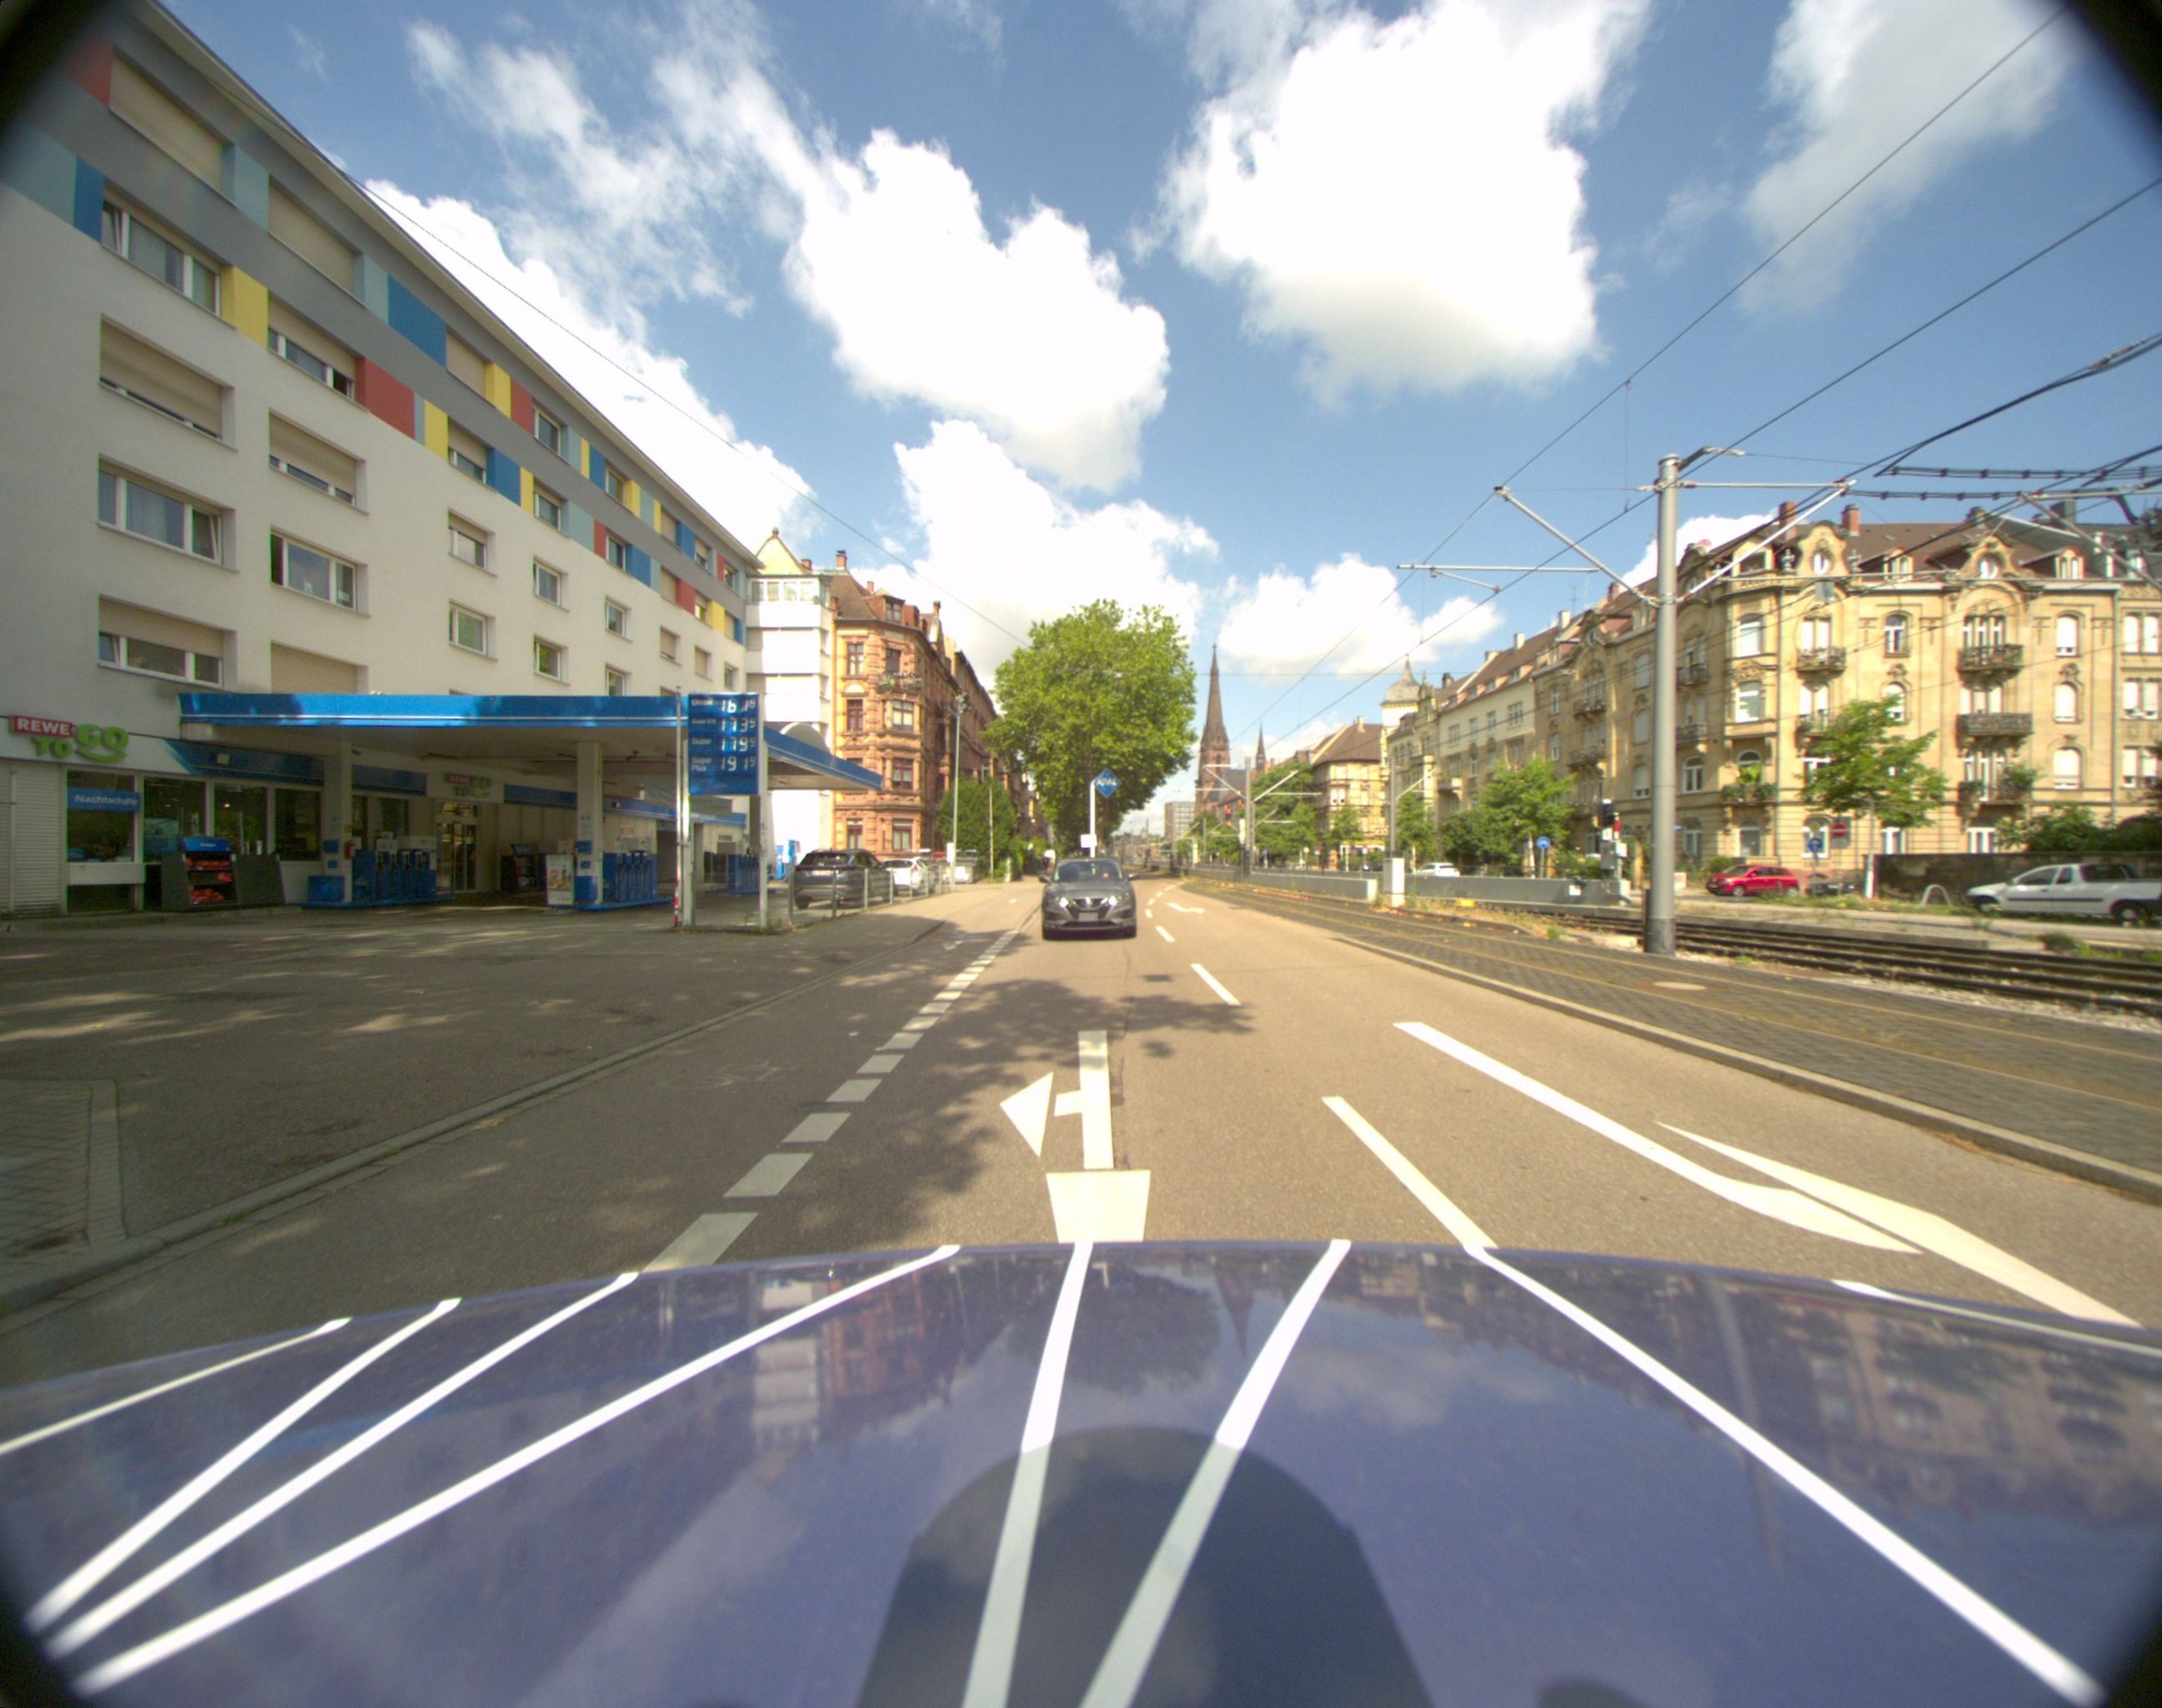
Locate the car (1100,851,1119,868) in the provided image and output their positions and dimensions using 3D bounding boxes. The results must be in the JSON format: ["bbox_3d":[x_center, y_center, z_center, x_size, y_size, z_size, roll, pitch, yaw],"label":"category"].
[{"bbox_3d":[2.620,0.532,70.746,1.557,1.476,3.858,2,0,0],"label":"car"}]

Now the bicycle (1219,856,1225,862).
[{"bbox_3d":[24.684,0.903,133.175,0.778,0.973,2.141,2,0,1],"label":"bicycle"}]

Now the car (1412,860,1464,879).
[{"bbox_3d":[26.671,1.156,56.861,1.756,1.320,4.312,0,0,-2],"label":"car"}]

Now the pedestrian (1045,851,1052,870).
[{"bbox_3d":[-3.039,0.609,70.741,0.565,1.775,0.630,0,0,0],"label":"pedestrian"}]

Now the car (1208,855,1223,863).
[{"bbox_3d":[26.018,0.977,147.040,1.998,1.628,4.114,0,0,0],"label":"car"}]

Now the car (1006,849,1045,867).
[{"bbox_3d":[-6.739,0.514,91.990,4.412,1.927,1.982,3,0,-10],"label":"car"}]

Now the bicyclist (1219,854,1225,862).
[{"bbox_3d":[24.678,0.724,133.036,0.769,1.330,1.049,2,0,1],"label":"bicyclist"}]

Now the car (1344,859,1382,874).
[{"bbox_3d":[26.457,1.146,71.490,1.953,1.319,4.726,0,0,1],"label":"car"}]

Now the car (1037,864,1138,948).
[{"bbox_3d":[0.146,0.963,15.898,1.800,1.454,4.567,0,0,1],"label":"car"}]

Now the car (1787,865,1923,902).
[{"bbox_3d":[32.799,1.227,32.268,3.972,1.455,1.723,1,0,1],"label":"car"}]

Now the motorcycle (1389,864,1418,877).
[{"bbox_3d":[26.641,1.348,62.879,1.765,0.936,1.417,2,0,-1],"label":"motorcycle"}]

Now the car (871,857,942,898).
[{"bbox_3d":[-6.567,0.849,29.003,1.810,1.447,4.001,0,0,0],"label":"car"}]

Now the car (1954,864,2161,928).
[{"bbox_3d":[26.643,1.026,20.128,1.936,1.495,4.413,0,0,-1],"label":"car"}]

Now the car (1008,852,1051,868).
[{"bbox_3d":[-5.856,0.676,86.743,4.735,1.772,2.004,-1,0,-8],"label":"car"}]

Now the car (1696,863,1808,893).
[{"bbox_3d":[33.465,1.182,37.992,3.789,1.455,1.933,0,0,3],"label":"car"}]

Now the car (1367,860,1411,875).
[{"bbox_3d":[26.594,1.146,65.754,2.025,1.319,4.100,0,0,-2],"label":"car"}]

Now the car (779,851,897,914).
[{"bbox_3d":[-6.790,0.739,21.780,1.810,1.593,4.583,0,0,1],"label":"car"}]
